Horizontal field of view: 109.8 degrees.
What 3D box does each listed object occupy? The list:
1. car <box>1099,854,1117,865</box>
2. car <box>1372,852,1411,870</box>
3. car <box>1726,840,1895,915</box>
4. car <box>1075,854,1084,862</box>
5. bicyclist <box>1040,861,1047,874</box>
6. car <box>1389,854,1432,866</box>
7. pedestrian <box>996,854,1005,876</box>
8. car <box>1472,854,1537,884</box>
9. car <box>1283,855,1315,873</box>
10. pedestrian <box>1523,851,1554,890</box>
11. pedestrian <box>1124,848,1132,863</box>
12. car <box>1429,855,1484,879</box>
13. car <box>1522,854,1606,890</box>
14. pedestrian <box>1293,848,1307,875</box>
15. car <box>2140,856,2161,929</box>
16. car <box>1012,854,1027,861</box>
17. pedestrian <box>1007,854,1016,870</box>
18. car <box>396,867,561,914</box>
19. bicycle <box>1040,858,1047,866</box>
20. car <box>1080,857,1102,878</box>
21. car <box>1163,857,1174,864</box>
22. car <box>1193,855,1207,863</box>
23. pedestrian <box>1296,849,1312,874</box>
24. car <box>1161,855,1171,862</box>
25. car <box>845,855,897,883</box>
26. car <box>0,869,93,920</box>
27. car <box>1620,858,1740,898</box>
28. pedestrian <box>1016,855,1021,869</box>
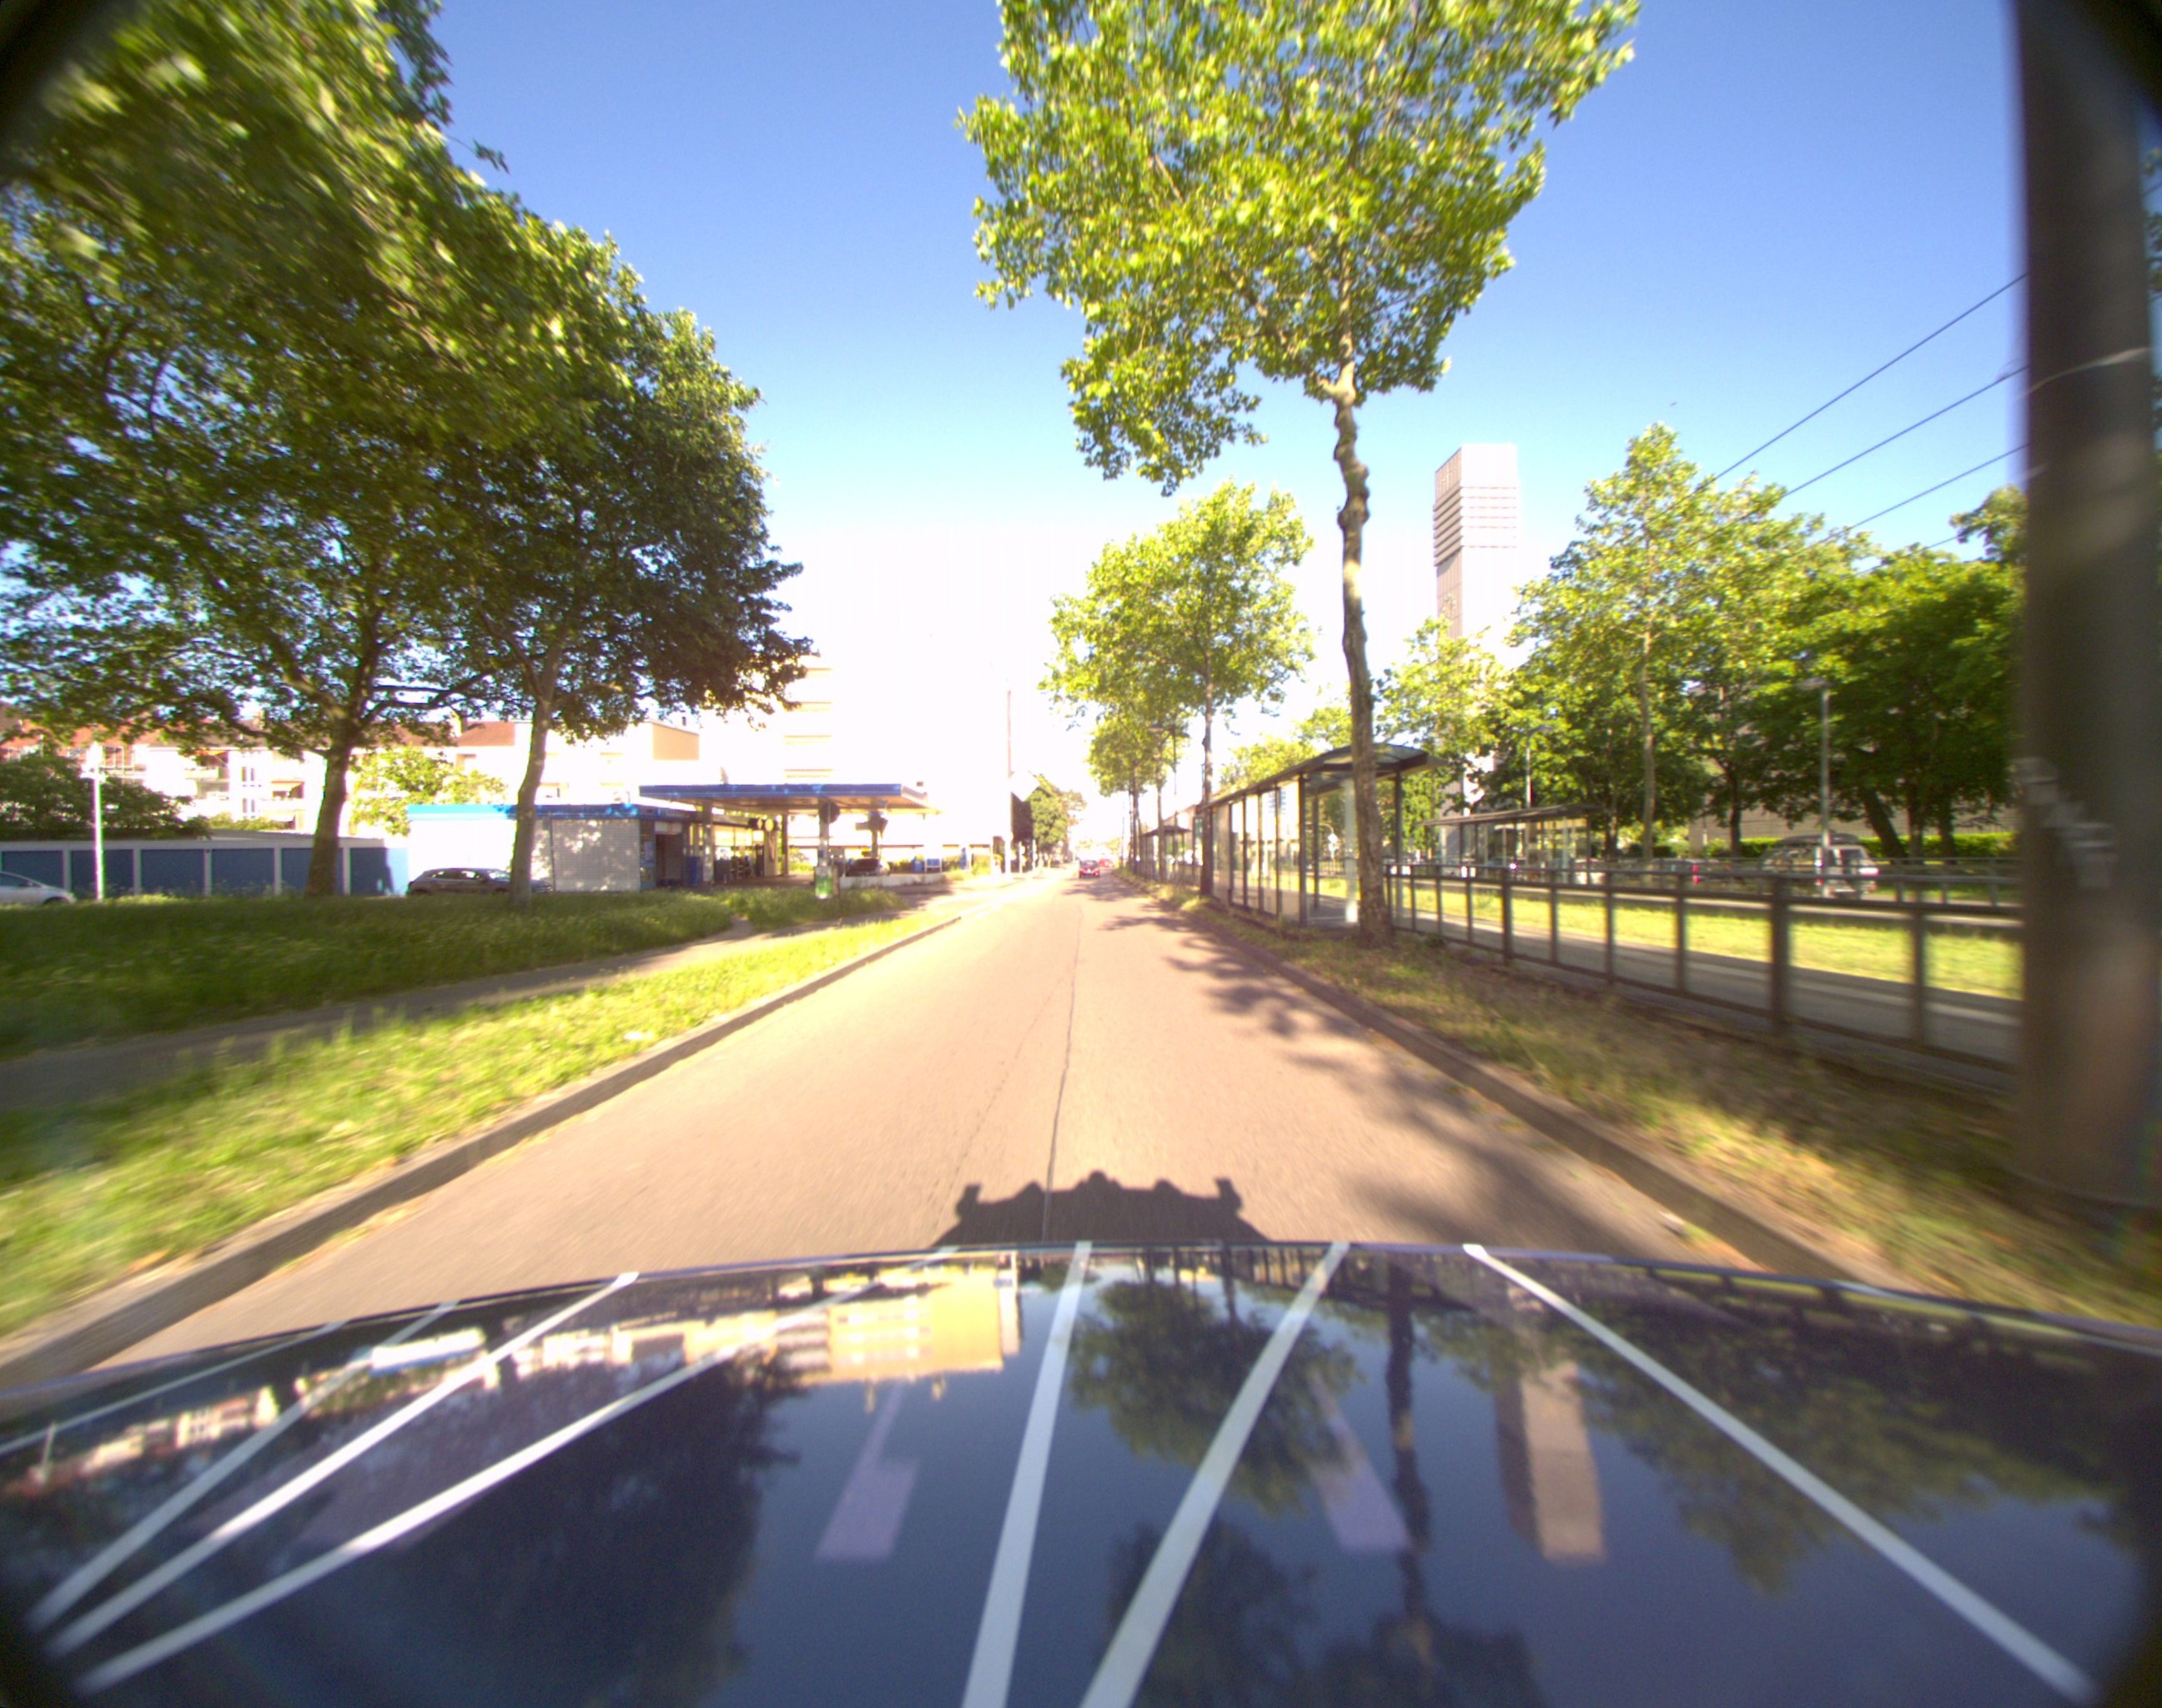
[{"bbox_3d":[4.102,0.828,116.908,1.545,1.522,3.597,-3,1,-20],"label":"car"},{"bbox_3d":[21.323,0.465,52.239,1.266,1.234,3.376,0,0,-1],"label":"car"},{"bbox_3d":[23.513,0.708,24.703,1.718,2.249,3.933,0,0,0],"label":"car"},{"bbox_3d":[-0.240,0.984,173.588,1.998,1.806,4.000,-2,0,0],"label":"car"},{"bbox_3d":[-4.369,1.593,88.314,0.678,1.466,0.936,-1,1,-1],"label":"bicyclist"},{"bbox_3d":[41.198,0.734,95.006,4.525,1.477,2.000,-1,0,0],"label":"car"},{"bbox_3d":[-6.267,0.852,59.276,0.605,1.691,0.552,-1,0,5],"label":"pedestrian"},{"bbox_3d":[23.842,0.800,42.930,1.598,1.623,3.930,0,0,1],"label":"car"},{"bbox_3d":[17.929,0.829,62.623,1.609,1.419,3.536,-1,0,-1],"label":"car"},{"bbox_3d":[15.232,0.545,25.334,0.838,1.253,0.801,-1,1,29],"label":"pedestrian"},{"bbox_3d":[4.732,0.128,76.607,0.660,1.520,0.538,-1,1,-7],"label":"pedestrian"},{"bbox_3d":[23.675,0.801,48.038,1.598,1.436,3.930,0,0,1],"label":"car"},{"bbox_3d":[23.244,0.826,36.746,1.598,1.626,3.930,0,0,0],"label":"car"},{"bbox_3d":[15.144,0.527,52.532,0.722,1.856,0.637,-1,0,1],"label":"pedestrian"},{"bbox_3d":[23.455,0.805,14.286,1.718,1.537,3.934,0,0,3],"label":"car"},{"bbox_3d":[-11.868,0.709,146.994,1.997,1.316,4.280,-1,0,10],"label":"car"},{"bbox_3d":[-7.780,0.899,85.316,0.790,1.817,1.032,1,1,-16],"label":"pedestrian"},{"bbox_3d":[-21.201,1.256,26.896,4.201,1.522,1.983,-1,0,-1],"label":"car"},{"bbox_3d":[-4.371,0.962,88.392,0.684,0.925,1.736,-1,0,0],"label":"bicycle"},{"bbox_3d":[0.804,1.005,59.993,1.619,1.536,4.277,-1,0,2],"label":"car"},{"bbox_3d":[22.578,1.585,196.717,2.144,1.697,5.446,-1,0,1],"label":"car"},{"bbox_3d":[18.357,0.763,117.069,1.329,1.317,3.415,-1,0,-5],"label":"car"},{"bbox_3d":[15.182,0.527,51.740,0.885,1.680,0.754,-1,0,1],"label":"pedestrian"},{"bbox_3d":[23.086,1.179,206.064,2.144,1.697,5.402,-1,0,1],"label":"car"},{"bbox_3d":[-11.489,0.792,41.885,1.724,1.454,4.005,-1,0,0],"label":"car"},{"bbox_3d":[-33.304,1.246,22.825,1.874,1.495,4.113,-1,0,-1],"label":"car"},{"bbox_3d":[23.587,0.891,30.136,1.598,1.480,4.020,0,0,0],"label":"car"},{"bbox_3d":[-7.061,0.875,85.664,0.505,1.537,0.518,1,1,-16],"label":"pedestrian"}]
